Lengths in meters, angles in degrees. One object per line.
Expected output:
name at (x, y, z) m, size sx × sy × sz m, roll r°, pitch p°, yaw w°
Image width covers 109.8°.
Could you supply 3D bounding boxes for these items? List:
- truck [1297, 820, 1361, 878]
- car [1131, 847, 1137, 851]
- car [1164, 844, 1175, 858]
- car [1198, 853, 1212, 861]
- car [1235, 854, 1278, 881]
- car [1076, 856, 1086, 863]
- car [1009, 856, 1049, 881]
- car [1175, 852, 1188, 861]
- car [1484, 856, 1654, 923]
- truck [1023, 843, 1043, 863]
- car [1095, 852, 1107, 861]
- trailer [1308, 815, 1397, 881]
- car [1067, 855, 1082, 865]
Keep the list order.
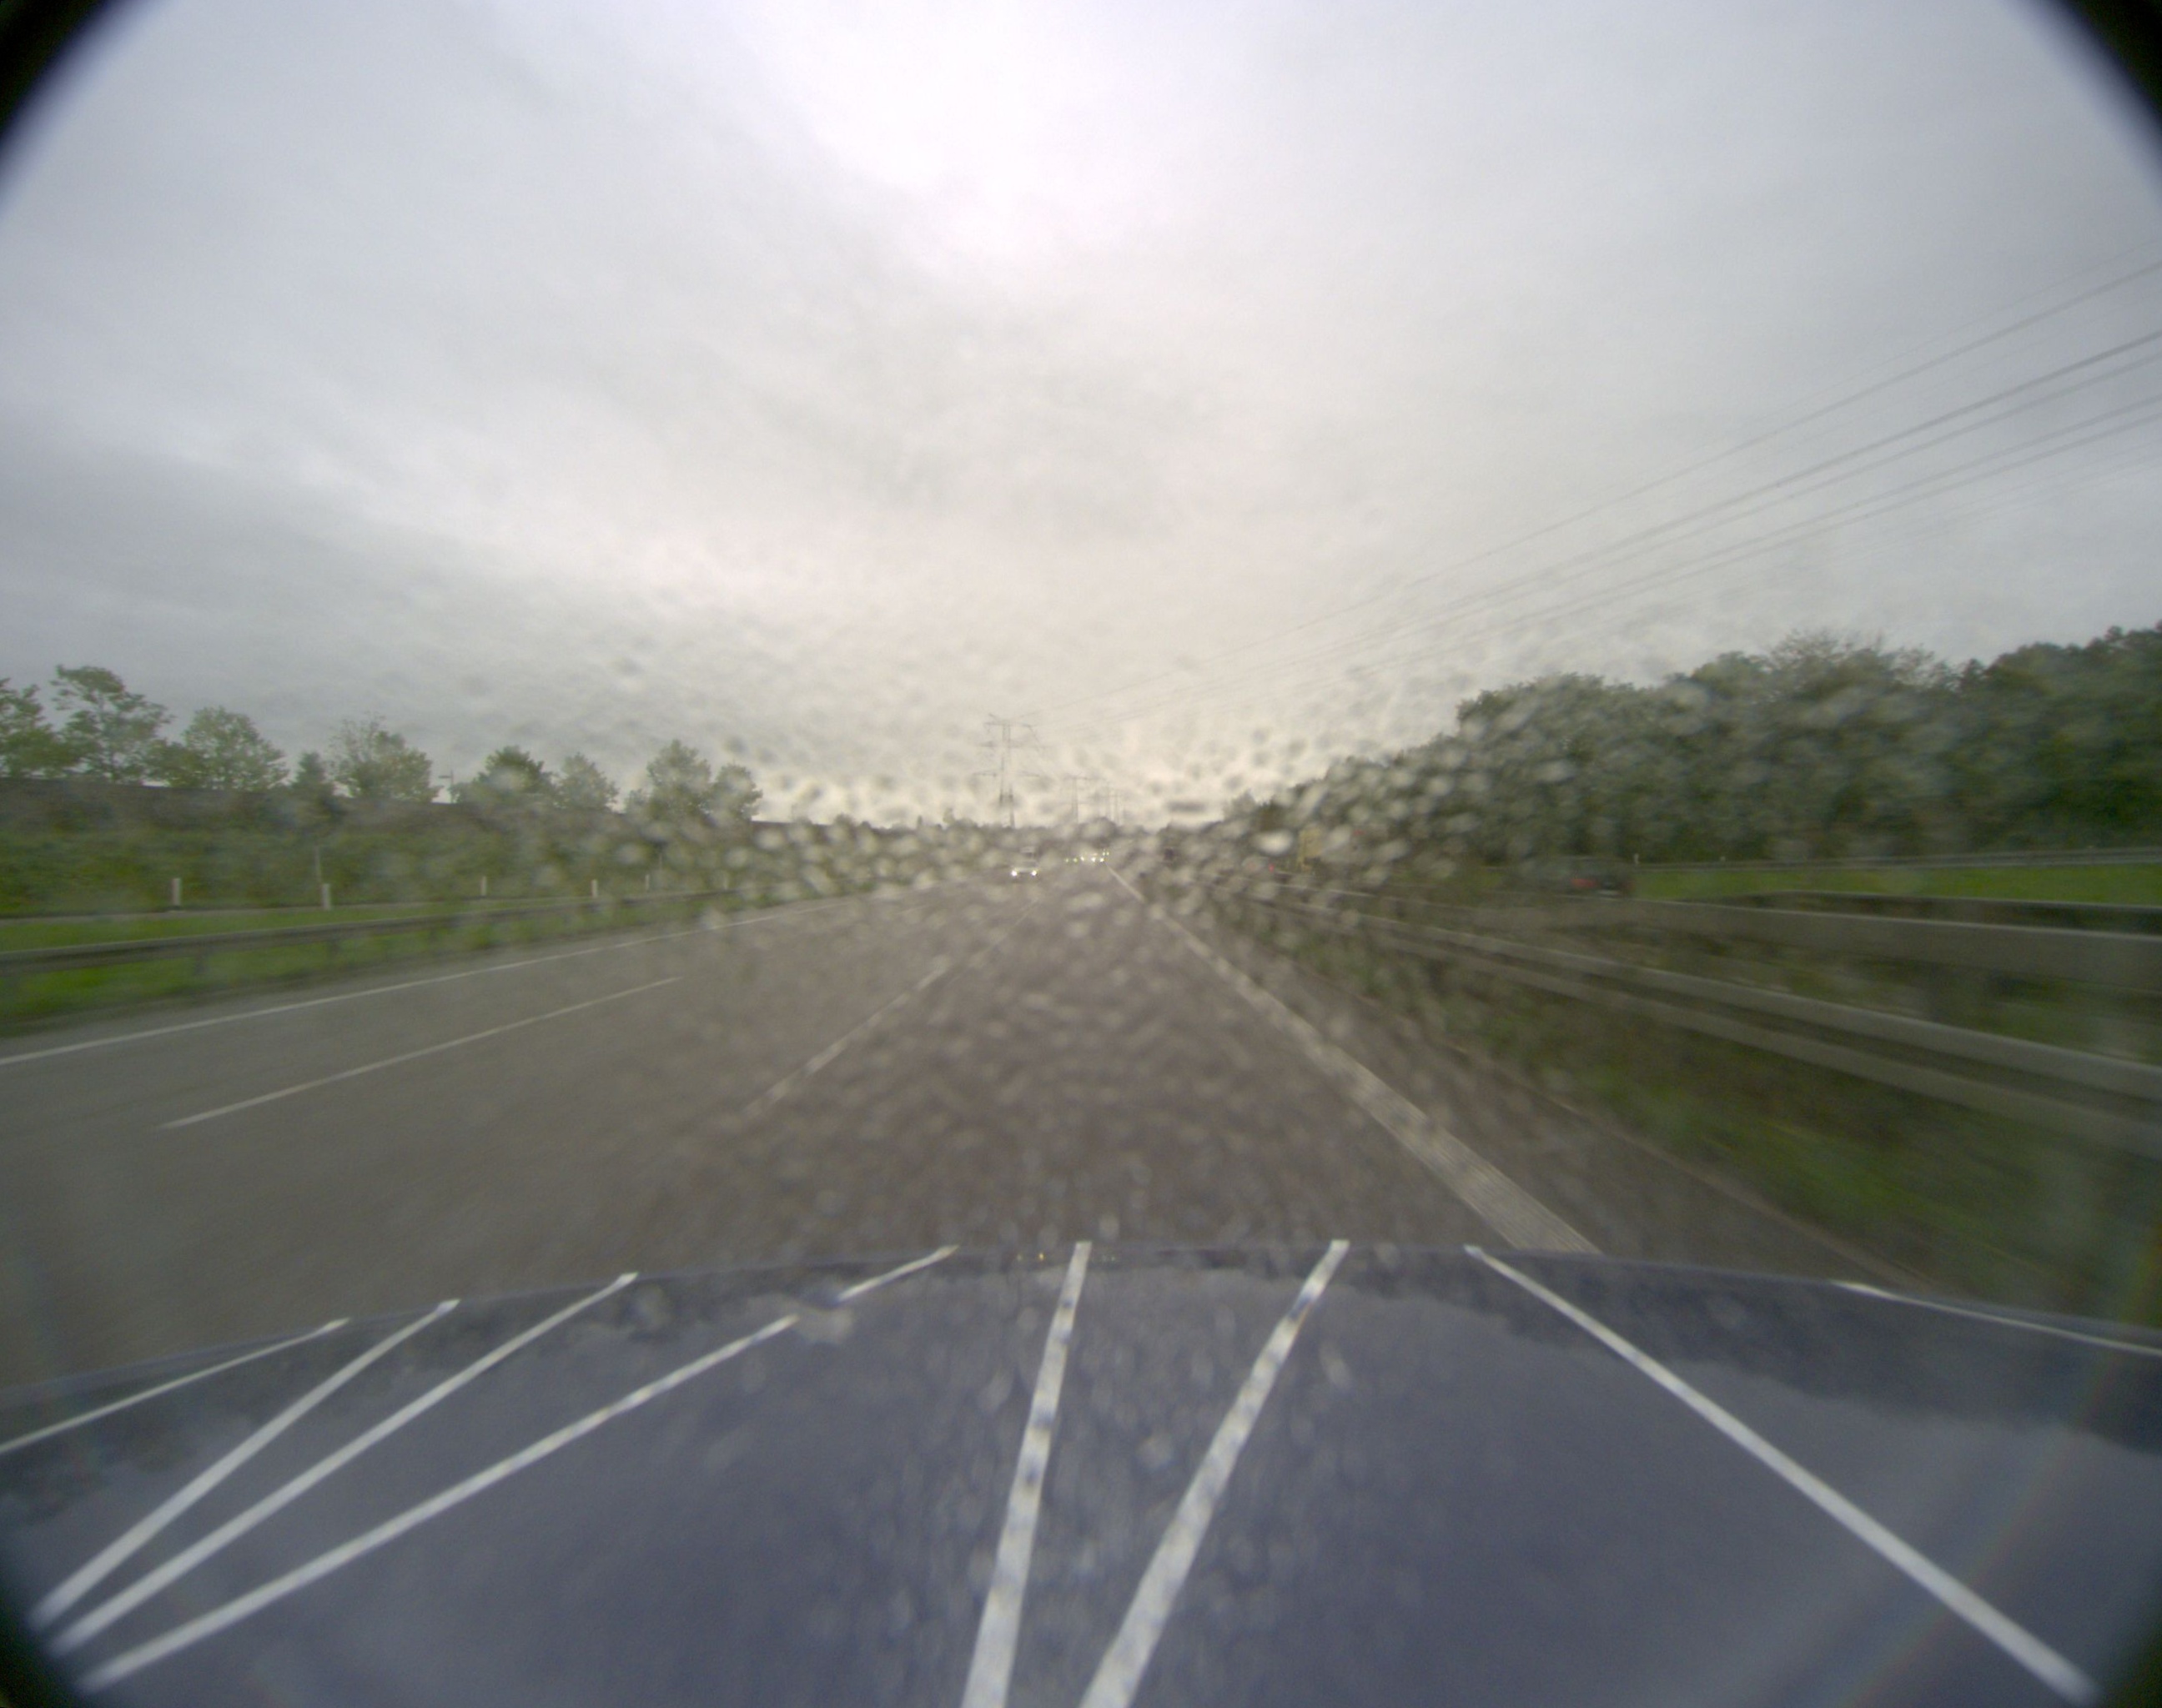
truck at (18.373, -0.380, 56.792) m, size 2.769 × 4.032 × 6.157 m, roll 1°, pitch 0°, yaw 1°
car at (18.825, -1.801, 268.584) m, size 1.928 × 1.646 × 4.790 m, roll 0°, pitch 0°, yaw 2°
car at (22.544, -0.792, 193.193) m, size 2.259 × 3.308 × 6.175 m, roll 0°, pitch 0°, yaw 2°
car at (24.531, 0.512, 150.282) m, size 1.973 × 1.534 × 3.999 m, roll 0°, pitch 0°, yaw -2°
car at (10.150, 0.752, 44.202) m, size 1.668 × 1.533 × 4.000 m, roll 0°, pitch 0°, yaw 1°
car at (0.026, 1.175, 163.171) m, size 1.856 × 1.419 × 4.000 m, roll -2°, pitch 1°, yaw 4°
car at (-3.349, 0.912, 49.333) m, size 1.998 × 1.419 × 4.000 m, roll -2°, pitch 1°, yaw 4°
car at (17.784, 0.487, 134.460) m, size 1.879 × 1.484 × 4.514 m, roll 1°, pitch 0°, yaw 1°
car at (13.148, 0.883, 20.848) m, size 1.829 × 1.628 × 4.472 m, roll 0°, pitch 0°, yaw 1°
truck at (-8.494, -0.234, 134.864) m, size 2.648 × 3.325 × 6.931 m, roll -2°, pitch 1°, yaw 4°
car at (3.514, 0.443, 134.567) m, size 1.998 × 1.419 × 4.000 m, roll -2°, pitch 1°, yaw 4°
trailer at (18.301, -0.385, 51.981) m, size 2.769 × 4.031 × 9.200 m, roll 1°, pitch 0°, yaw 1°
car at (-1.048, 1.000, 122.755) m, size 1.998 × 1.419 × 4.000 m, roll -2°, pitch 1°, yaw 4°
